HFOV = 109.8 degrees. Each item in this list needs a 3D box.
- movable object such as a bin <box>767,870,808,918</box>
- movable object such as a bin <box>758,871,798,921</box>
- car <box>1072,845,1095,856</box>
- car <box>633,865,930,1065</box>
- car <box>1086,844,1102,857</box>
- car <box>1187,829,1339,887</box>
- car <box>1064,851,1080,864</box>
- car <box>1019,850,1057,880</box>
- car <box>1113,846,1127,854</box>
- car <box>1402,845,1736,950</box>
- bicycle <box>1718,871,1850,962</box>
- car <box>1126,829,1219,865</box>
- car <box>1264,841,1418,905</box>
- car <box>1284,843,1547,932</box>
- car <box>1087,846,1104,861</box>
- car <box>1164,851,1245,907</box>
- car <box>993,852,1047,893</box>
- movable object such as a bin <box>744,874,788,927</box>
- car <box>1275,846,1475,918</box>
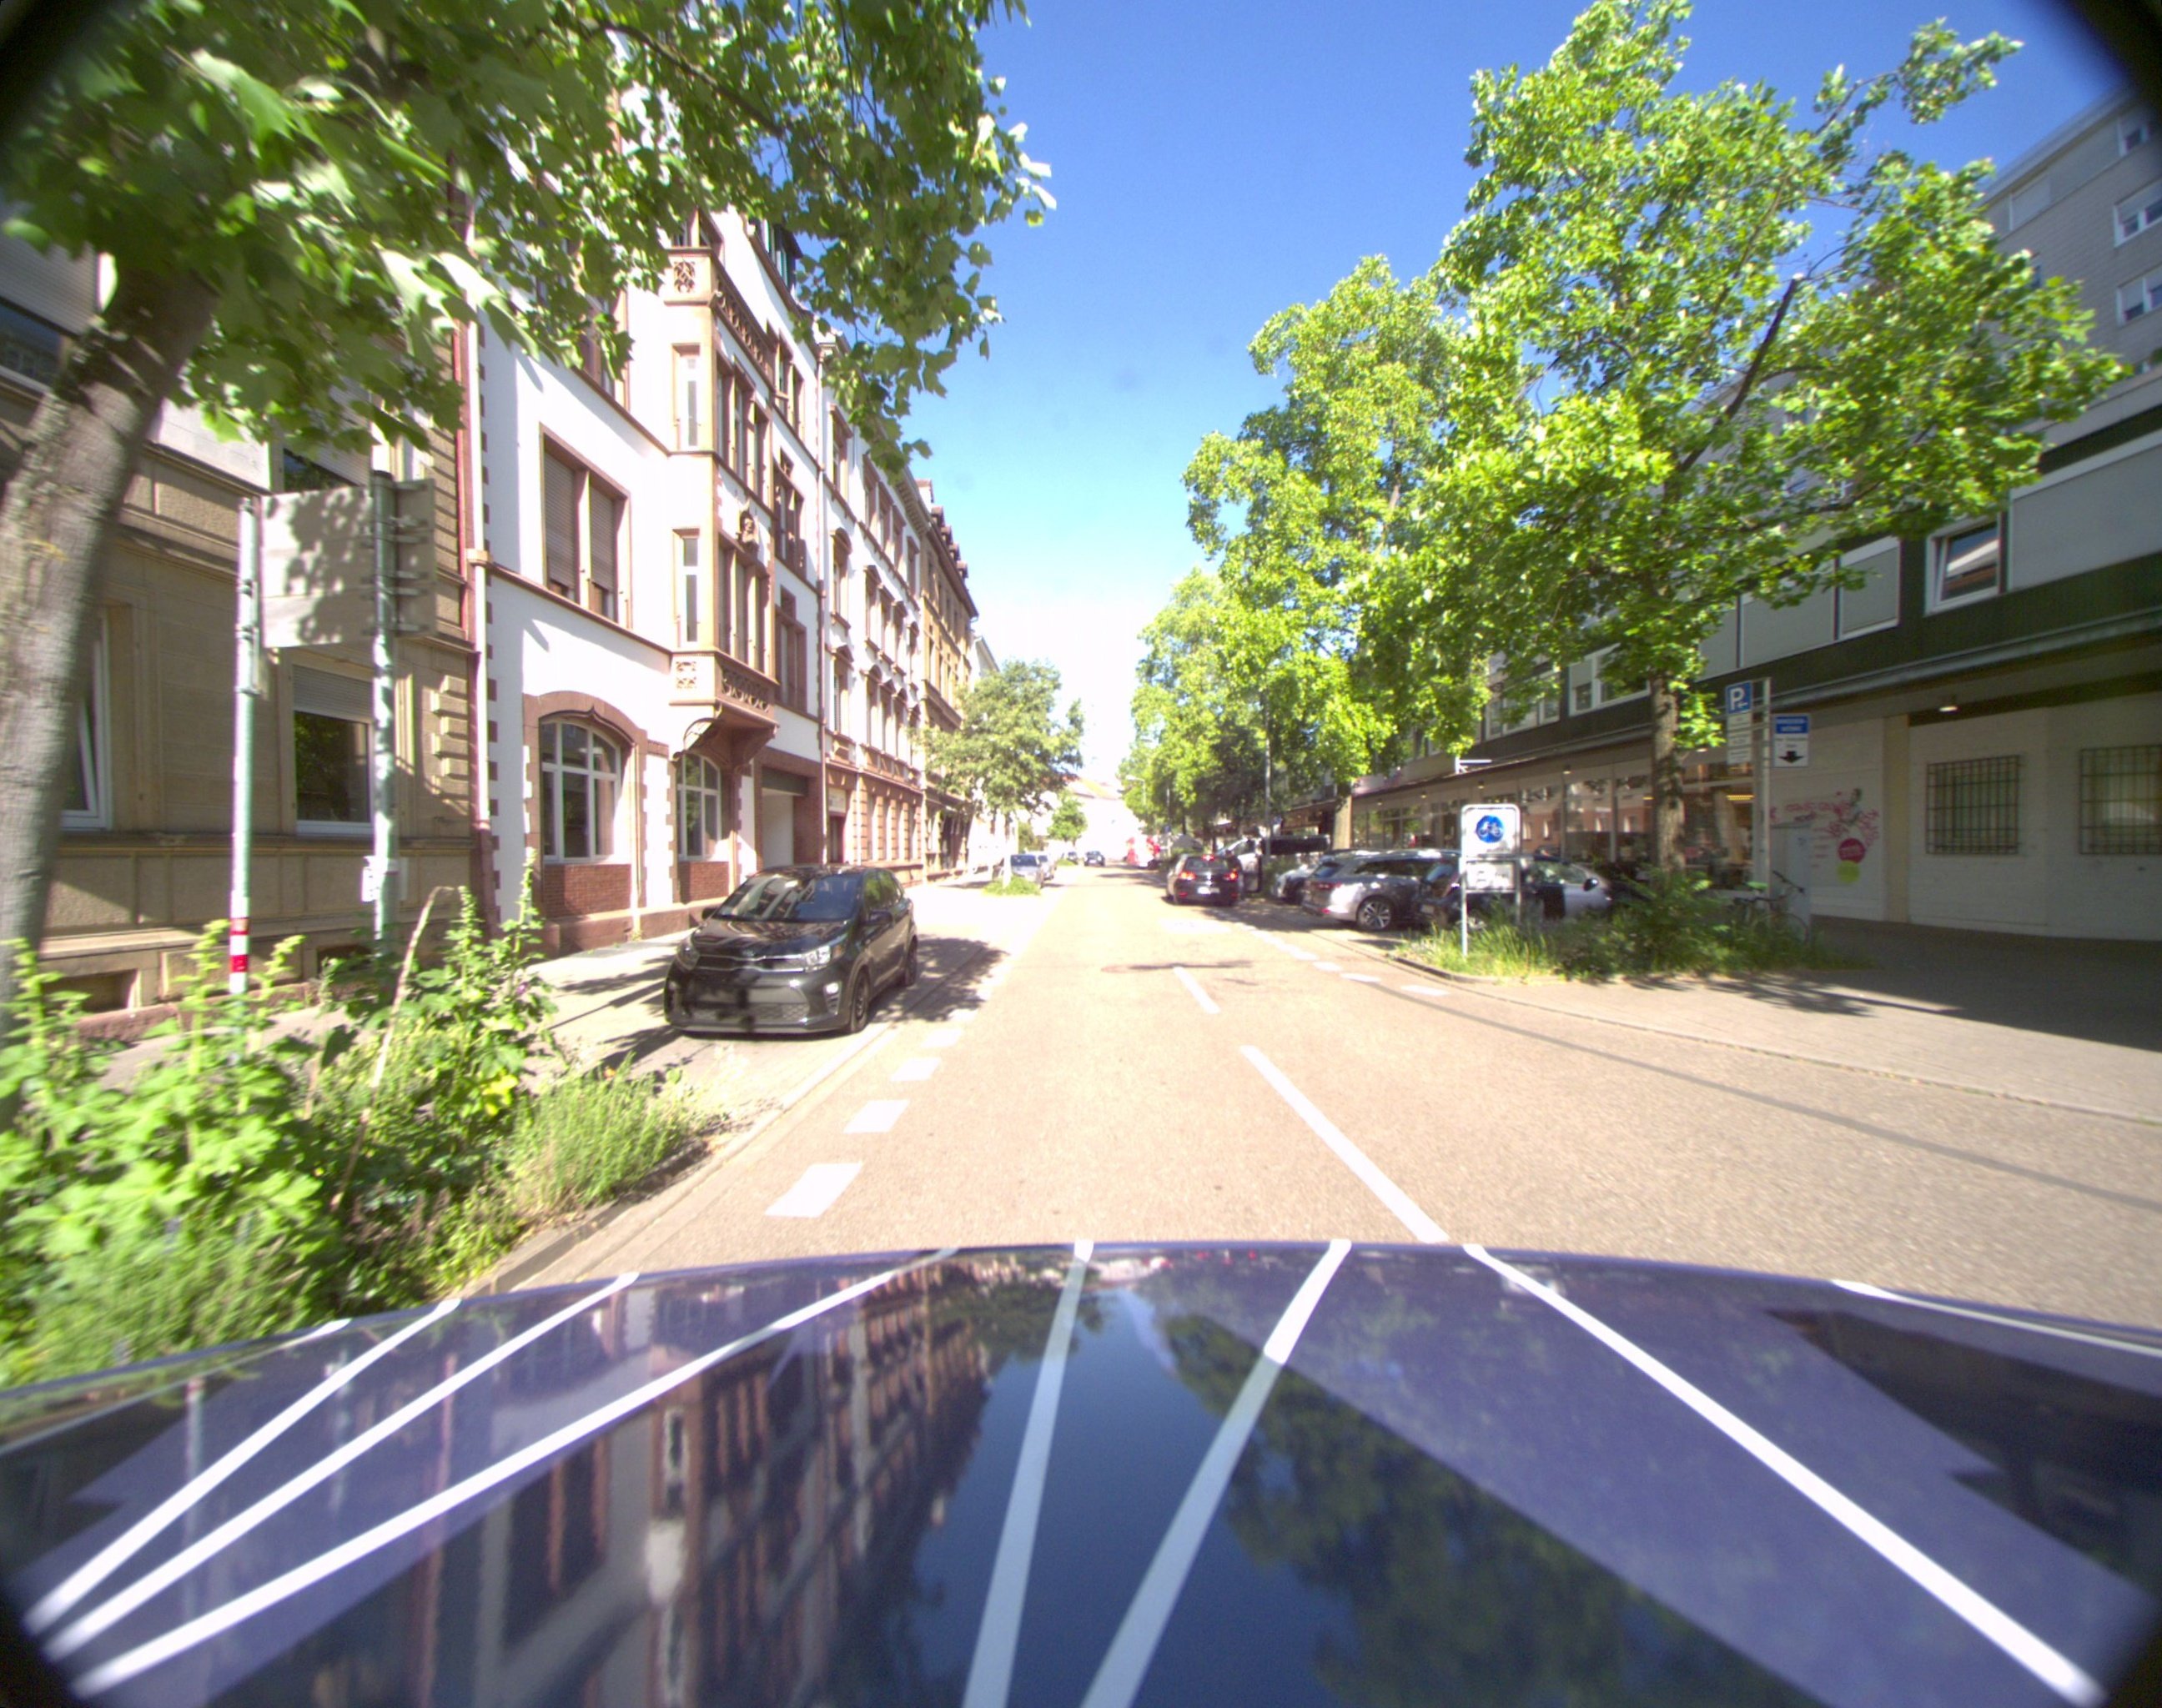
[{"bbox_3d":[-6.684,0.904,17.335,0.639,1.063,0.639,-1,1,1],"label":"movable object such as a bin"},{"bbox_3d":[-6.684,0.915,16.773,0.639,1.063,0.521,-1,1,1],"label":"movable object such as a bin"},{"bbox_3d":[0.444,-0.635,132.508,1.908,1.924,4.817,-1,1,27],"label":"car"},{"bbox_3d":[-2.726,0.907,7.818,1.640,1.467,3.579,-1,1,-1],"label":"car"},{"bbox_3d":[1.545,-0.495,92.747,1.861,1.499,3.999,-1,1,1],"label":"car"},{"bbox_3d":[6.855,0.155,29.104,5.305,1.963,2.015,-2,1,1],"label":"car"},{"bbox_3d":[-1.027,0.421,90.079,1.720,1.445,3.999,0,1,2],"label":"car"},{"bbox_3d":[-2.229,0.522,40.061,1.743,1.443,3.999,-1,1,0],"label":"car"},{"bbox_3d":[7.484,-0.765,146.646,1.632,1.412,3.299,0,1,24],"label":"car"},{"bbox_3d":[7.719,0.653,12.305,4.315,1.425,1.644,-2,1,1],"label":"car"},{"bbox_3d":[9.218,0.783,10.029,0.467,1.072,1.343,-1,1,-2],"label":"bicycle"},{"bbox_3d":[6.780,-0.533,56.280,6.609,2.460,1.996,-2,1,-20],"label":"car"},{"bbox_3d":[7.087,0.476,20.895,3.609,1.543,1.683,-2,1,-8],"label":"car"},{"bbox_3d":[6.337,0.604,14.785,4.315,1.452,1.762,-3,1,3],"label":"car"},{"bbox_3d":[1.421,-0.076,74.335,1.612,1.445,3.294,-1,1,0],"label":"car"},{"bbox_3d":[3.460,0.643,22.007,1.767,1.430,3.960,0,1,1],"label":"car"},{"bbox_3d":[-2.325,0.662,30.062,1.743,1.443,4.307,-1,1,0],"label":"car"},{"bbox_3d":[-6.681,0.984,16.154,0.639,1.063,0.632,-1,1,1],"label":"movable object such as a bin"},{"bbox_3d":[6.848,0.610,17.940,3.998,1.455,1.812,-2,1,-4],"label":"car"}]
